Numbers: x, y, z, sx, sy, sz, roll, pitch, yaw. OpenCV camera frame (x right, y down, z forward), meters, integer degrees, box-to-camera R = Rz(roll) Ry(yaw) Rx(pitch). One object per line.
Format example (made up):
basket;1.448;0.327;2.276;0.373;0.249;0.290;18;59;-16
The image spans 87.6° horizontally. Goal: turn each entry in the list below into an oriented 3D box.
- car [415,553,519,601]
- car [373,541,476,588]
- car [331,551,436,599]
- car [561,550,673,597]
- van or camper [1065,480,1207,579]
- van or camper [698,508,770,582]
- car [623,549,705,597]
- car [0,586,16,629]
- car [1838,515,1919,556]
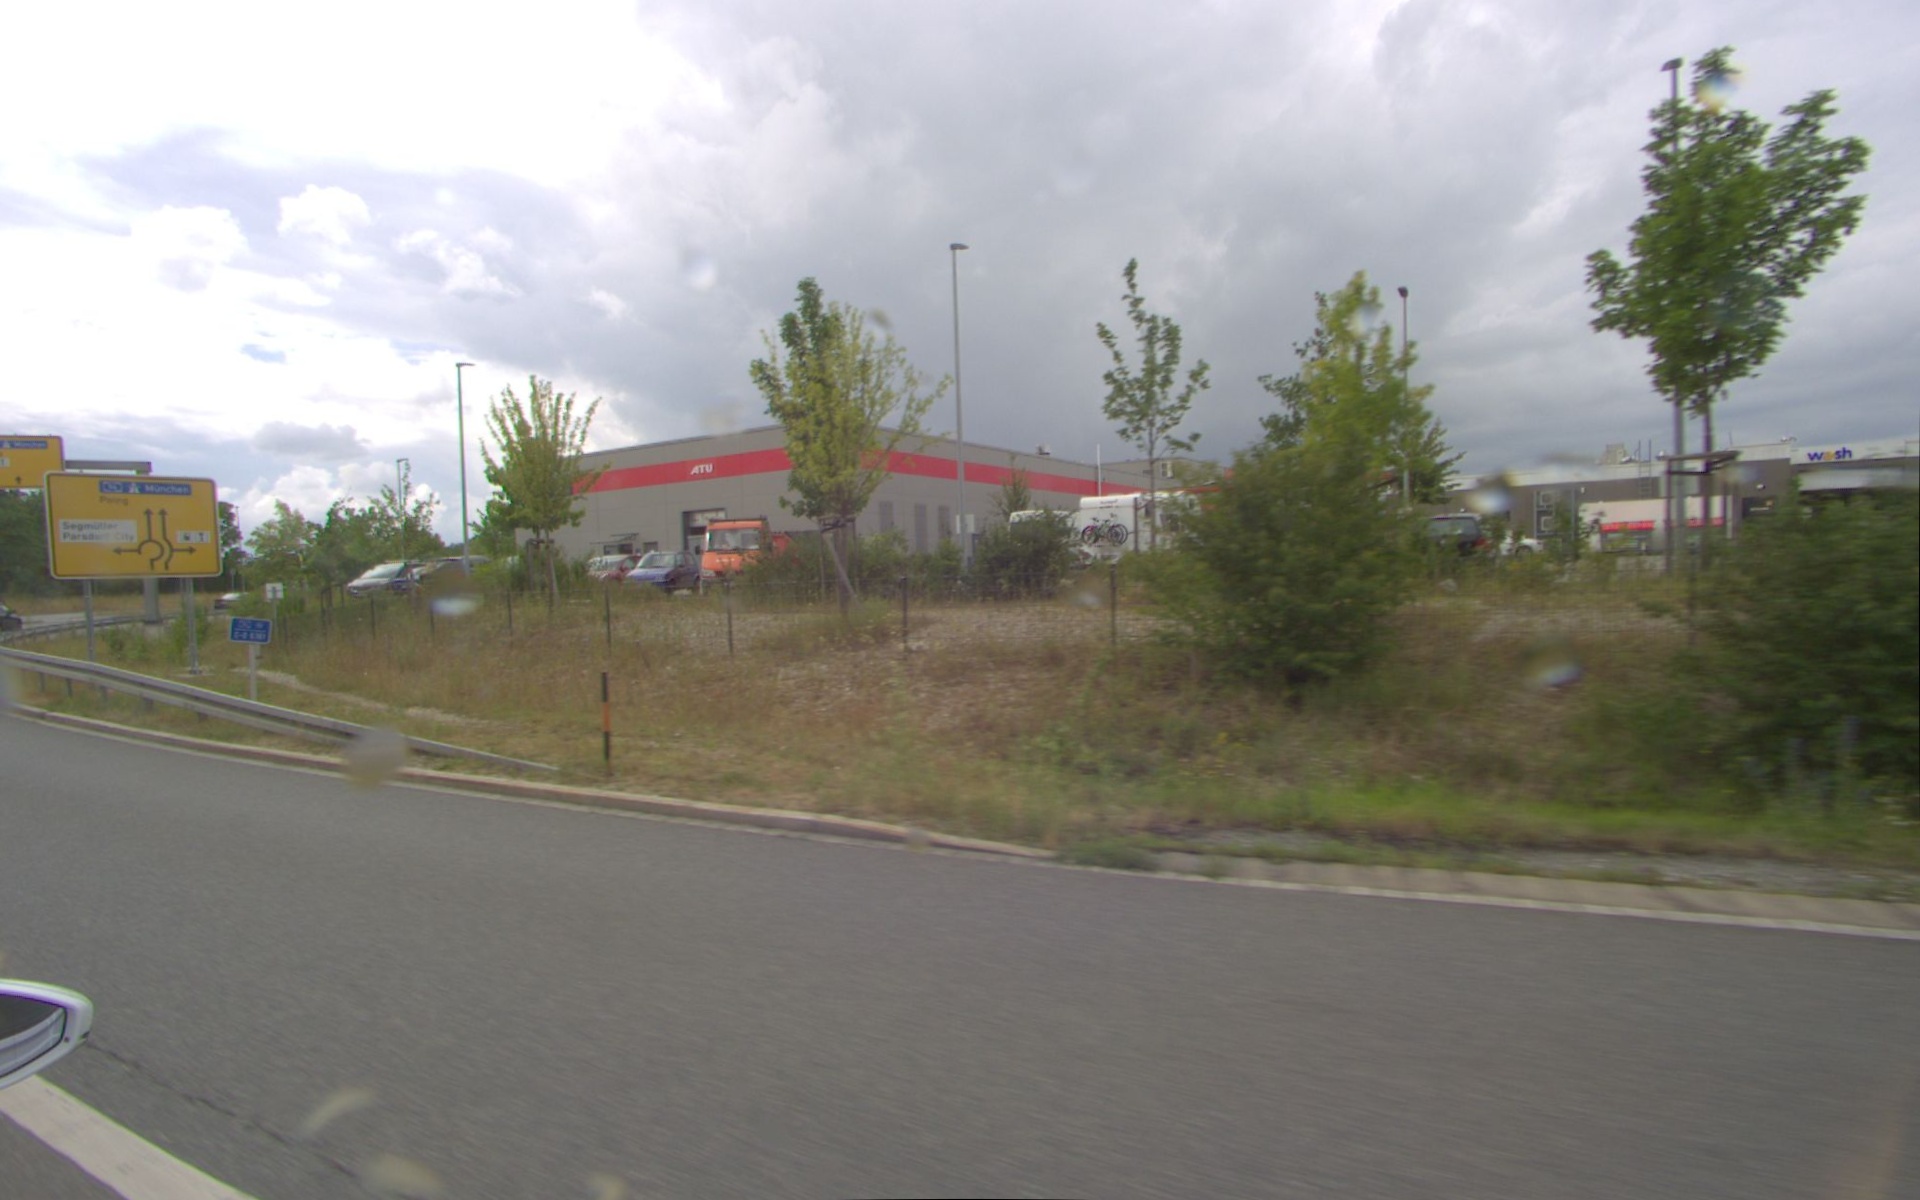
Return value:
car;-18.600;-0.832;37.959;1.490;1.675;3.732;1;0;13
car;-21.483;-1.377;40.331;1.700;1.675;3.857;1;0;8
car;-23.752;-0.975;41.422;1.769;1.806;4.169;1;0;3
car;-11.586;-0.877;34.201;1.671;1.419;4.586;-2;1;8
van or camper;6.707;-2.502;37.054;2.456;3.223;7.693;0;3;32
van or camper;-6.923;-1.627;31.063;1.779;2.024;4.673;-2;0;-9
car;-9.374;-0.905;31.984;1.471;1.401;3.303;-2;3;2
car;-40.272;0.324;40.941;1.851;1.628;3.705;-4;5;-36
car;37.268;-2.582;40.694;1.646;1.450;3.979;-1;1;31
